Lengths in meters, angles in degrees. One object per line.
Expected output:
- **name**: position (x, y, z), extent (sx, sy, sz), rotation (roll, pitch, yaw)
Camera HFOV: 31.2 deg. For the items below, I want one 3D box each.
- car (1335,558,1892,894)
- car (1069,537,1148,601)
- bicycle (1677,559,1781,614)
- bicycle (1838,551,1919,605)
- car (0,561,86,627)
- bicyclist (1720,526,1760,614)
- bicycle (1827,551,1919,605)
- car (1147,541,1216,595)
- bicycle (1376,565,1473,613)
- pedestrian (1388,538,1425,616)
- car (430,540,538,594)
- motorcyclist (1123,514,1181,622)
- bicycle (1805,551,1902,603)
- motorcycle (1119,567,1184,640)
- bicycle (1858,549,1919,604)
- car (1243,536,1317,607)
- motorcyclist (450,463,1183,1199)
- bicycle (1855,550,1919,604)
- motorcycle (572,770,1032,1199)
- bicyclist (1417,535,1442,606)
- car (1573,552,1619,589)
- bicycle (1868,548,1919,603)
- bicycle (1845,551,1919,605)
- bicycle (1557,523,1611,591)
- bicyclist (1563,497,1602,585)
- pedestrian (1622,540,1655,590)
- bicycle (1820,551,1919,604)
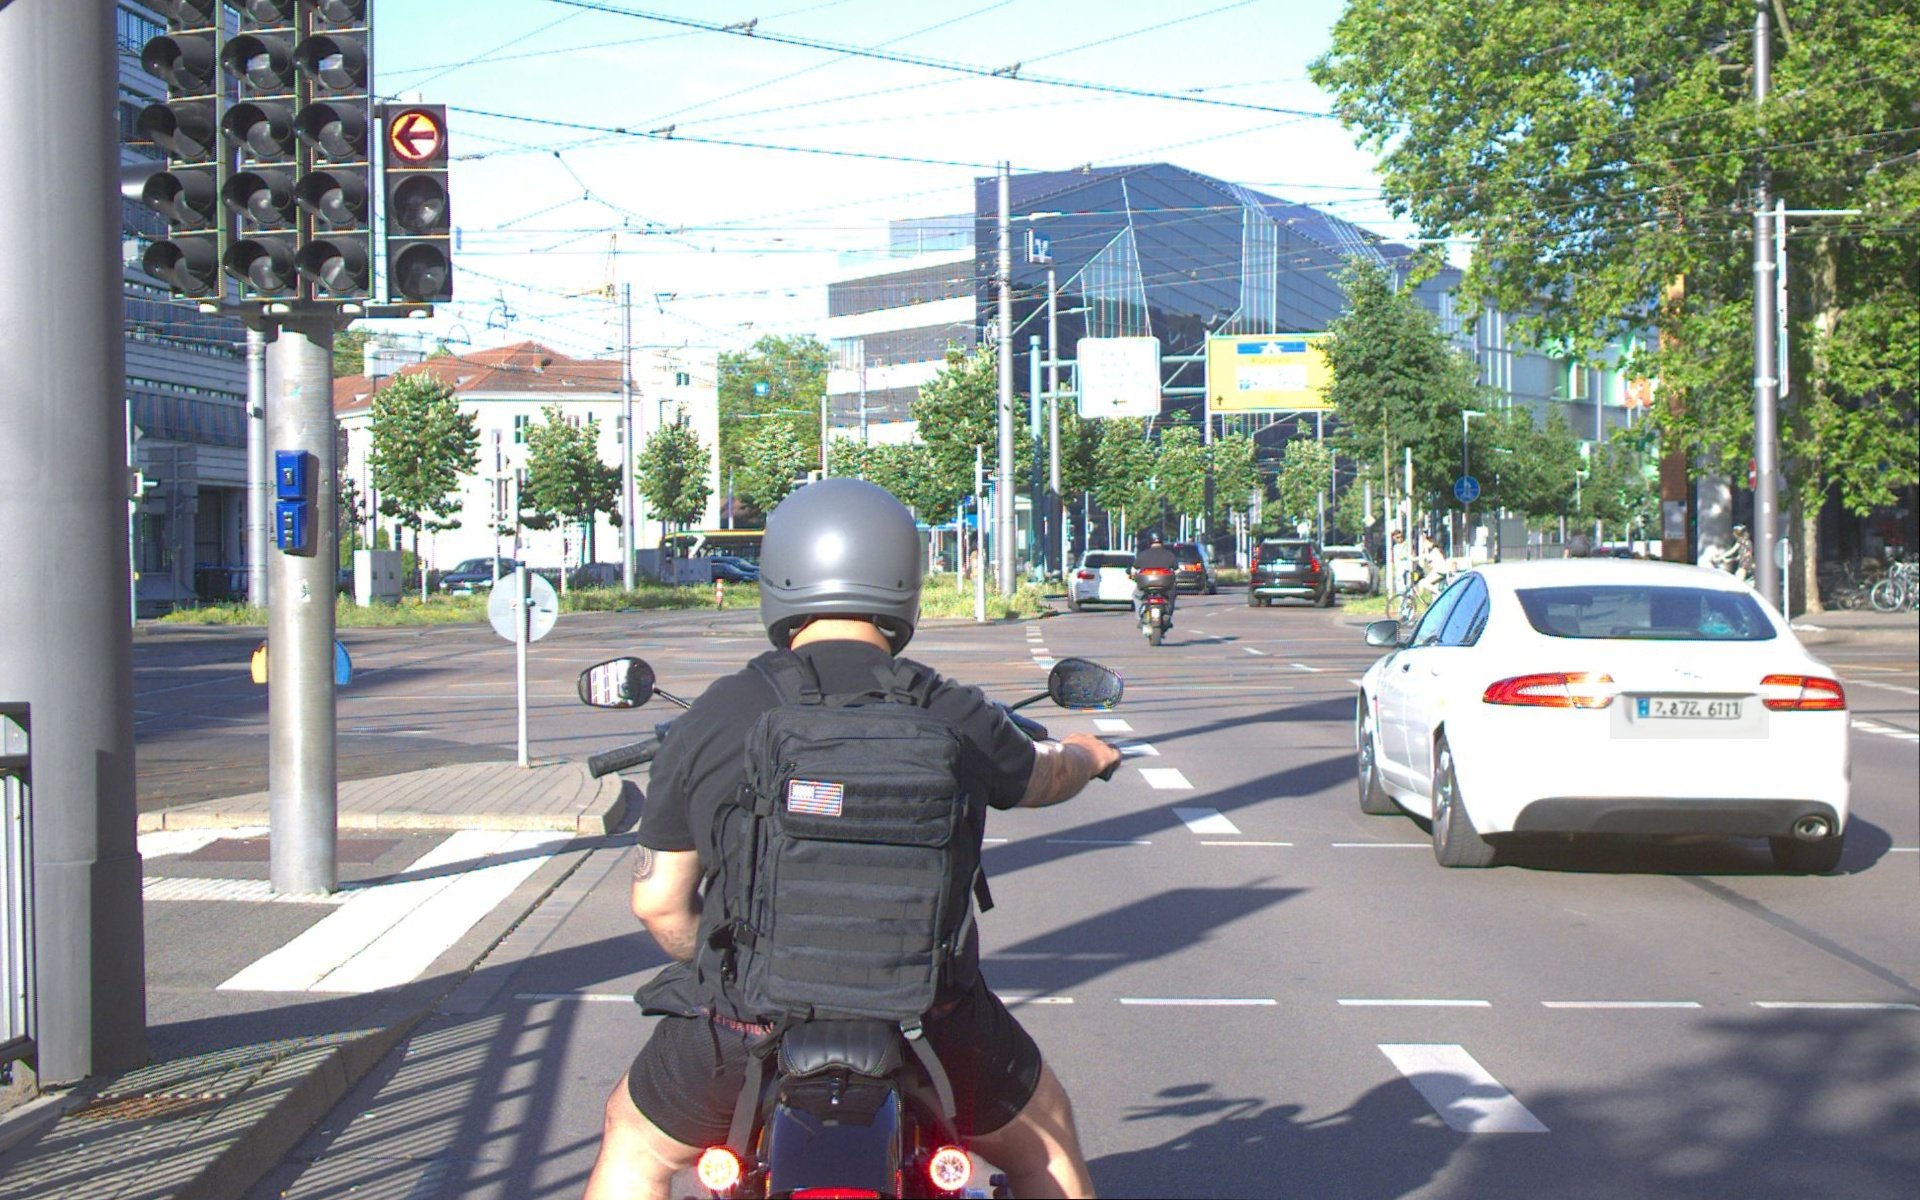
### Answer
- **car**: position (3.084, 0.518, 17.163), extent (1.803, 1.425, 4.453), rotation (0, 1, -2)
- **car**: position (3.544, -0.717, 81.462), extent (1.732, 1.452, 4.417), rotation (1, 0, 4)
- **bicycle**: position (14.590, -0.250, 65.231), extent (1.872, 1.040, 0.536), rotation (0, 0, 19)
- **bicycle**: position (18.483, -0.433, 68.512), extent (1.880, 1.043, 0.360), rotation (1, 0, -1)
- **car**: position (-21.233, -0.153, 76.456), extent (1.826, 1.426, 4.239), rotation (1, 0, 11)
- **bicyclist**: position (14.783, -0.566, 65.162), extent (0.688, 1.667, 0.540), rotation (0, 0, 19)
- **bicycle**: position (18.403, -0.449, 68.997), extent (1.880, 1.043, 0.360), rotation (1, 1, -1)
- **car**: position (7.184, -1.021, 111.277), extent (1.804, 1.672, 4.039), rotation (1, 0, 9)
- **bicycle**: position (9.060, -0.212, 67.067), extent (1.825, 0.922, 0.358), rotation (1, 0, -8)
- **pedestrian**: position (8.927, -0.460, 68.739), extent (0.587, 1.551, 0.489), rotation (1, 0, -8)
- **car**: position (-13.835, -0.952, 100.158), extent (1.750, 1.519, 3.997), rotation (1, 0, 13)
- **motorcyclist**: position (2.829, -0.471, 50.623), extent (0.796, 1.574, 0.529), rotation (1, 0, -1)
- **bicycle**: position (18.356, -0.474, 70.648), extent (1.880, 1.043, 0.360), rotation (1, 1, -1)
- **motorcycle**: position (2.826, 0.049, 50.891), extent (0.804, 1.047, 2.376), rotation (1, 0, 0)
- **bicycle**: position (18.363, -0.449, 66.506), extent (1.880, 1.043, 0.360), rotation (1, 0, -1)
- **car**: position (8.192, -0.760, 88.323), extent (1.732, 1.726, 4.611), rotation (1, 2, 4)
- **motorcyclist**: position (-0.206, 0.595, 5.301), extent (1.030, 1.588, 0.873), rotation (0, 1, -1)
- **bicycle**: position (18.520, -0.438, 67.323), extent (1.880, 1.043, 0.360), rotation (1, 0, -1)
- **motorcycle**: position (-0.226, 0.877, 5.653), extent (0.600, 1.032, 2.234), rotation (1, 1, -1)
- **bicyclist**: position (9.154, -0.570, 67.093), extent (0.380, 1.368, 0.345), rotation (1, 0, -9)
- **car**: position (30.356, -1.392, 164.019), extent (1.805, 1.672, 4.038), rotation (1, 0, 16)
- **bicycle**: position (18.359, -0.457, 65.724), extent (1.880, 1.043, 0.360), rotation (1, 0, -1)
- **bicycle**: position (18.462, -0.430, 67.880), extent (1.880, 1.043, 0.360), rotation (1, 1, -1)
- **bicycle**: position (12.882, -0.867, 71.042), extent (0.726, 1.362, 2.917), rotation (1, 0, 3)
- **bicyclist**: position (12.881, -1.209, 71.127), extent (0.697, 1.802, 0.728), rotation (1, 0, 4)
- **pedestrian**: position (17.901, -0.914, 90.724), extent (0.819, 1.309, 0.637), rotation (1, 0, 9)
- **bicycle**: position (18.381, -0.458, 69.497), extent (1.880, 1.043, 0.360), rotation (1, 1, -1)
